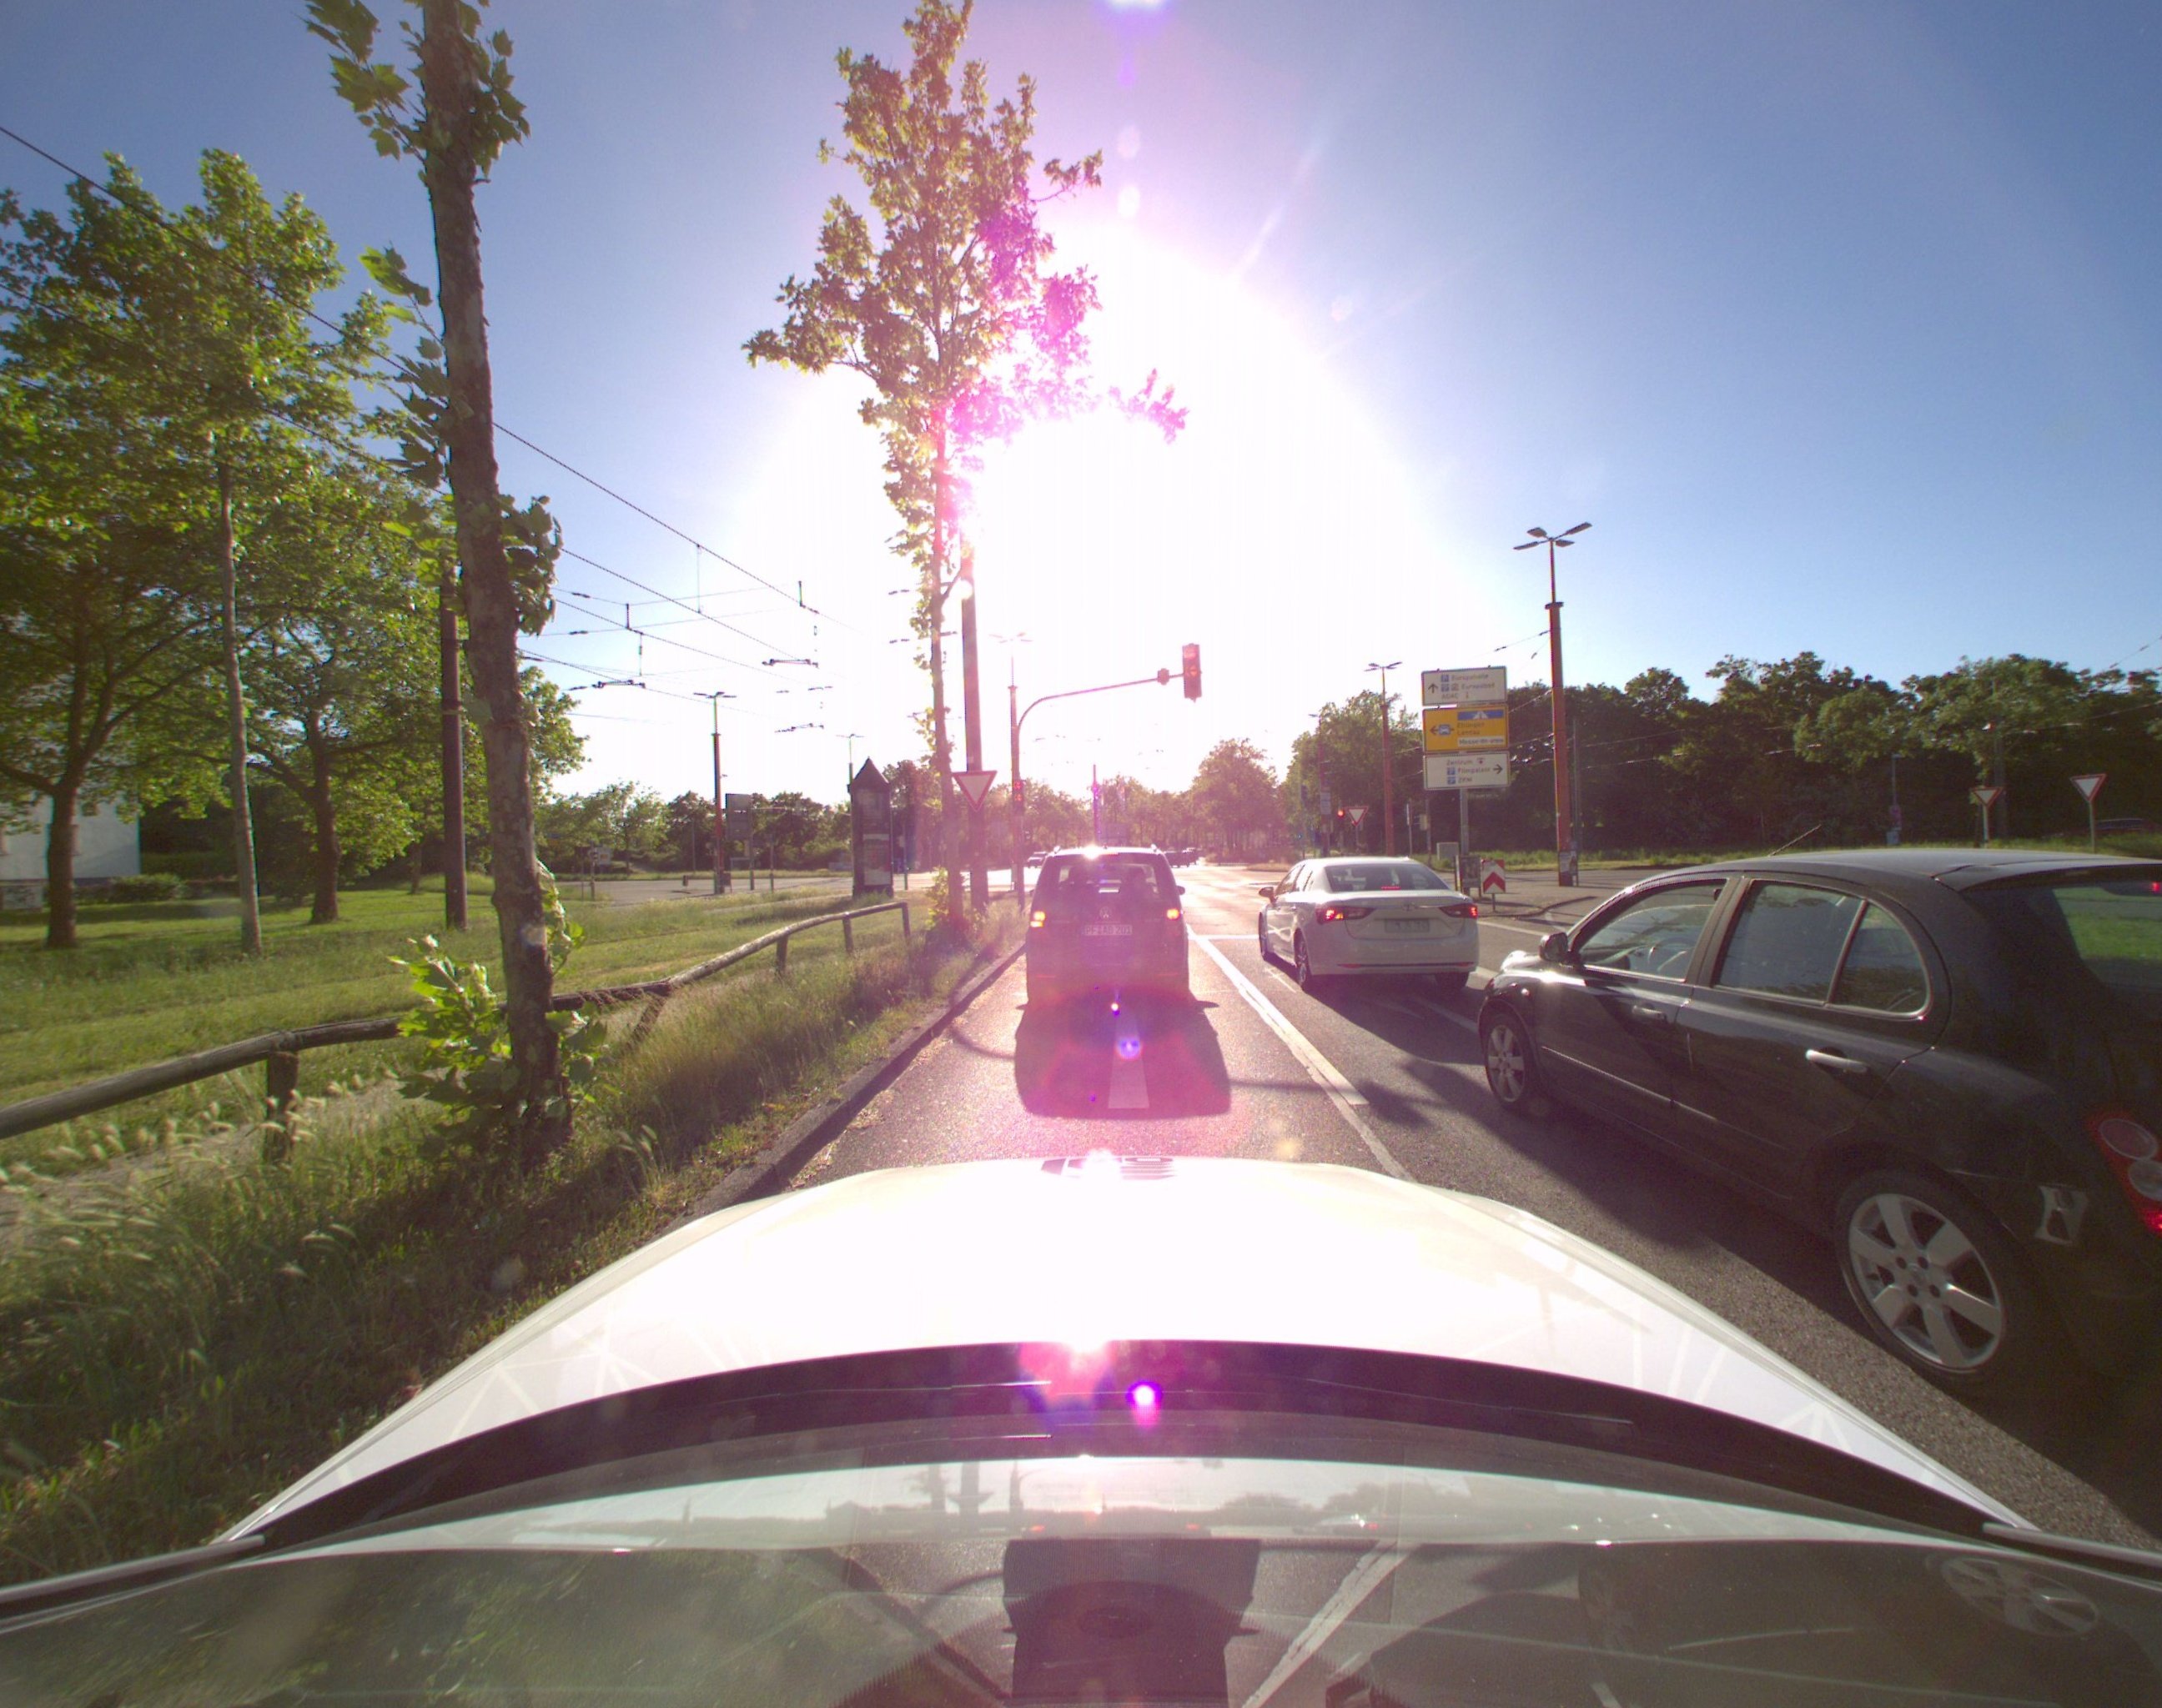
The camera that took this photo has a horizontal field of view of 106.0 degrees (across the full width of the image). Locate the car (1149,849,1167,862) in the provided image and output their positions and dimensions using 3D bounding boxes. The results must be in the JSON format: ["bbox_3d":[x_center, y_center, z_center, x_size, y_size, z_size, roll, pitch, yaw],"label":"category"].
[{"bbox_3d":[9.077,0.167,95.703,1.779,1.388,4.060,-1,1,9],"label":"car"}]

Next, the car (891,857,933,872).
[{"bbox_3d":[-20.239,1.243,97.620,4.662,1.726,1.892,-2,0,-26],"label":"car"}]

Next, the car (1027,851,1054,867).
[{"bbox_3d":[-4.662,0.535,94.019,1.889,1.726,4.669,-2,0,12],"label":"car"}]

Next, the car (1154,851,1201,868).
[{"bbox_3d":[8.609,0.443,72.462,4.070,1.388,1.775,-1,1,-39],"label":"car"}]

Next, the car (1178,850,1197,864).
[{"bbox_3d":[11.493,0.291,87.945,1.781,1.388,4.054,-1,1,4],"label":"car"}]

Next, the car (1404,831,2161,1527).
[{"bbox_3d":[3.262,0.676,3.881,1.728,1.482,4.625,-2,0,2],"label":"car"}]

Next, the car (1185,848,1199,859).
[{"bbox_3d":[15.775,-0.049,115.769,1.781,1.502,4.056,-1,1,6],"label":"car"}]

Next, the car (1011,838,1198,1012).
[{"bbox_3d":[0.325,0.680,10.373,1.761,1.644,4.926,-2,0,2],"label":"car"}]

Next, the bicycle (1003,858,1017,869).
[{"bbox_3d":[-8.269,1.098,94.642,0.757,1.091,2.025,-2,1,19],"label":"bicycle"}]

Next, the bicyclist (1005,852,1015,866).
[{"bbox_3d":[-8.269,0.608,94.718,0.753,1.557,0.986,-2,1,19],"label":"bicyclist"}]

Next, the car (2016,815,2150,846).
[{"bbox_3d":[55.514,-1.277,45.240,4.234,1.495,2.013,-2,0,29],"label":"car"}]

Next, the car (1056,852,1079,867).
[{"bbox_3d":[-1.471,0.644,91.676,1.756,1.538,4.104,-2,0,11],"label":"car"}]

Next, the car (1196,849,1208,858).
[{"bbox_3d":[19.745,-0.143,133.431,1.780,1.388,4.057,-1,1,6],"label":"car"}]

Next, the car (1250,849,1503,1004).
[{"bbox_3d":[3.325,0.696,10.119,1.760,1.464,4.370,-2,0,3],"label":"car"}]

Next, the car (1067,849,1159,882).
[{"bbox_3d":[1.747,0.623,45.011,4.634,1.704,2.012,-2,0,27],"label":"car"}]
